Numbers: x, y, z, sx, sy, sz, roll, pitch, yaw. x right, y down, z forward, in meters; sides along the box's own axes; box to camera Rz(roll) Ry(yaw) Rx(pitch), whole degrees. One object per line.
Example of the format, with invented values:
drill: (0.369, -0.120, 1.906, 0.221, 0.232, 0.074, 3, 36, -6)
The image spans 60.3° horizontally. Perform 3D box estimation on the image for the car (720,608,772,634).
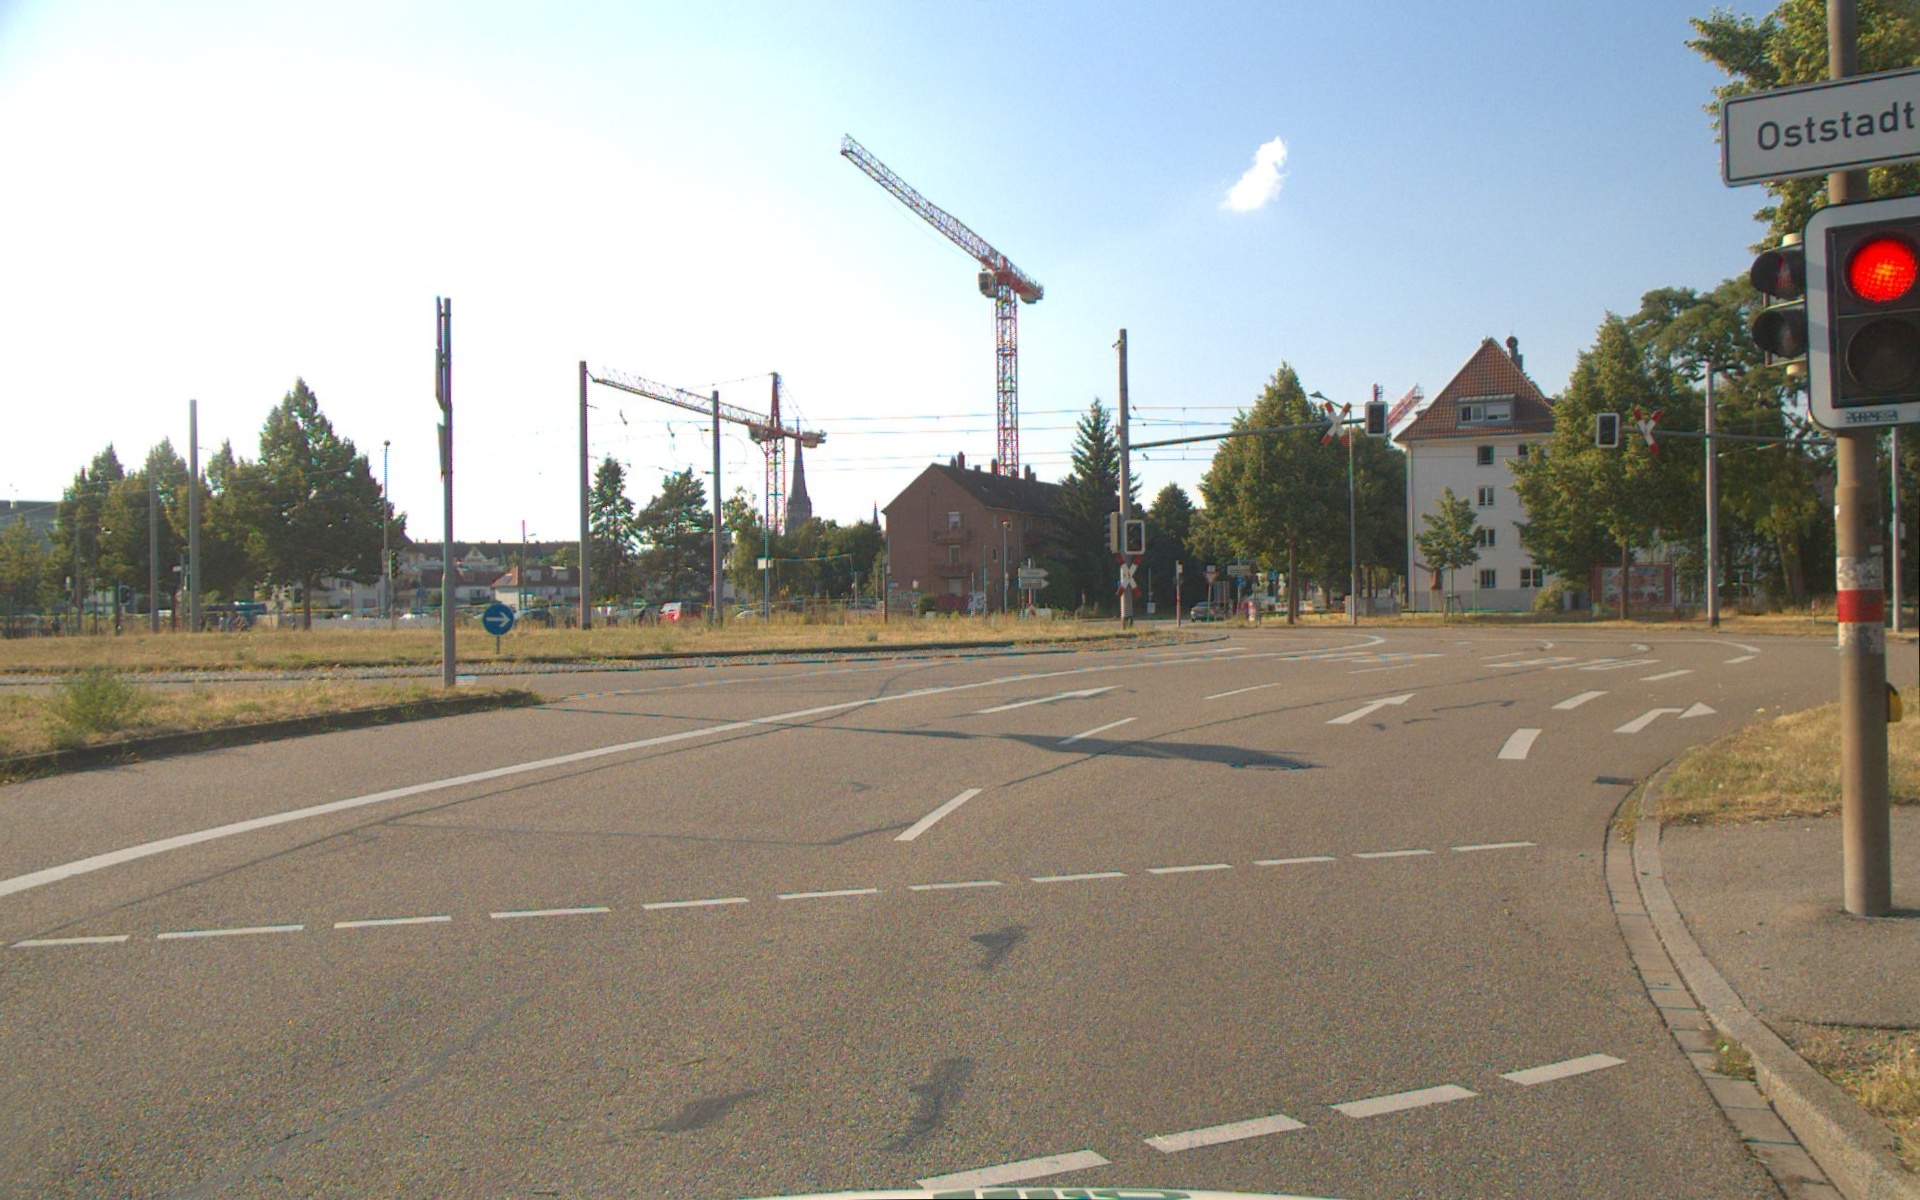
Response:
car: (-17.093, 1.676, 132.242, 3.728, 2.049, 1.673, -1, -1, 18)

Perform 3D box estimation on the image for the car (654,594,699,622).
car: (-19.902, 0.534, 115.909, 1.898, 1.886, 3.961, -1, 0, -29)

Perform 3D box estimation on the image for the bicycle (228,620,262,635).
bicycle: (-39.117, 1.520, 90.464, 1.692, 0.757, 0.477, -1, 0, -22)

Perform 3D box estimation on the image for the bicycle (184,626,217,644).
bicycle: (-40.955, 1.886, 89.218, 1.595, 0.875, 0.540, -1, 0, -27)

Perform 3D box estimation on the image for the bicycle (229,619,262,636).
bicycle: (-38.135, 1.468, 88.315, 1.595, 0.875, 0.540, -1, 0, -27)

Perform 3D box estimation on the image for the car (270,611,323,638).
car: (-52.238, 1.917, 130.162, 3.917, 2.049, 1.994, -1, 0, 34)

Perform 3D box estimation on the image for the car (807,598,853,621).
car: (-11.699, 0.867, 148.899, 3.728, 2.049, 1.673, -1, -1, 18)

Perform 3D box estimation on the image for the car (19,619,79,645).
car: (-47.157, 1.656, 85.613, 2.642, 1.283, 1.101, -1, 0, -33)

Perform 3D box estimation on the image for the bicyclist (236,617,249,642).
bicyclist: (-39.245, 1.620, 90.447, 0.643, 1.349, 0.515, -1, 0, -22)

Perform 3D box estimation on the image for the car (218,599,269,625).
car: (-58.568, 1.012, 135.208, 3.917, 2.049, 1.994, -1, 0, 34)

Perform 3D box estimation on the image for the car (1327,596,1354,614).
car: (38.779, 0.496, 168.575, 1.953, 1.811, 3.998, 1, 0, 24)

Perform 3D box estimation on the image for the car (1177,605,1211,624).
car: (17.142, 1.055, 121.130, 1.426, 1.323, 3.546, -1, 0, 25)

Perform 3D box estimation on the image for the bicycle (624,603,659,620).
bicycle: (-18.421, 0.662, 95.647, 1.949, 0.934, 0.429, -1, 0, -6)

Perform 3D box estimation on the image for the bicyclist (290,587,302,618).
bicyclist: (-36.764, 0.139, 91.582, 0.599, 1.701, 0.474, 0, -1, -27)

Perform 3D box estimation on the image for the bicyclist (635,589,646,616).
bicyclist: (-18.476, 0.155, 95.641, 0.610, 1.537, 0.418, -1, 0, -6)

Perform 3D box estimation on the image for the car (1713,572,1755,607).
car: (38.689, -0.504, 82.647, 1.737, 1.646, 3.964, -1, -1, 27)

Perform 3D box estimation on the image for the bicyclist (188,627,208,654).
bicyclist: (-41.086, 2.173, 89.195, 0.943, 1.381, 0.687, -1, 0, -27)

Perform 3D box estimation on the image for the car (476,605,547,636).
car: (-28.519, 1.278, 105.226, 3.950, 1.847, 1.977, -1, 0, -33)

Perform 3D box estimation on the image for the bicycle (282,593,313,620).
bicycle: (-36.697, 0.350, 91.604, 1.521, 1.499, 0.475, -1, 0, -28)
